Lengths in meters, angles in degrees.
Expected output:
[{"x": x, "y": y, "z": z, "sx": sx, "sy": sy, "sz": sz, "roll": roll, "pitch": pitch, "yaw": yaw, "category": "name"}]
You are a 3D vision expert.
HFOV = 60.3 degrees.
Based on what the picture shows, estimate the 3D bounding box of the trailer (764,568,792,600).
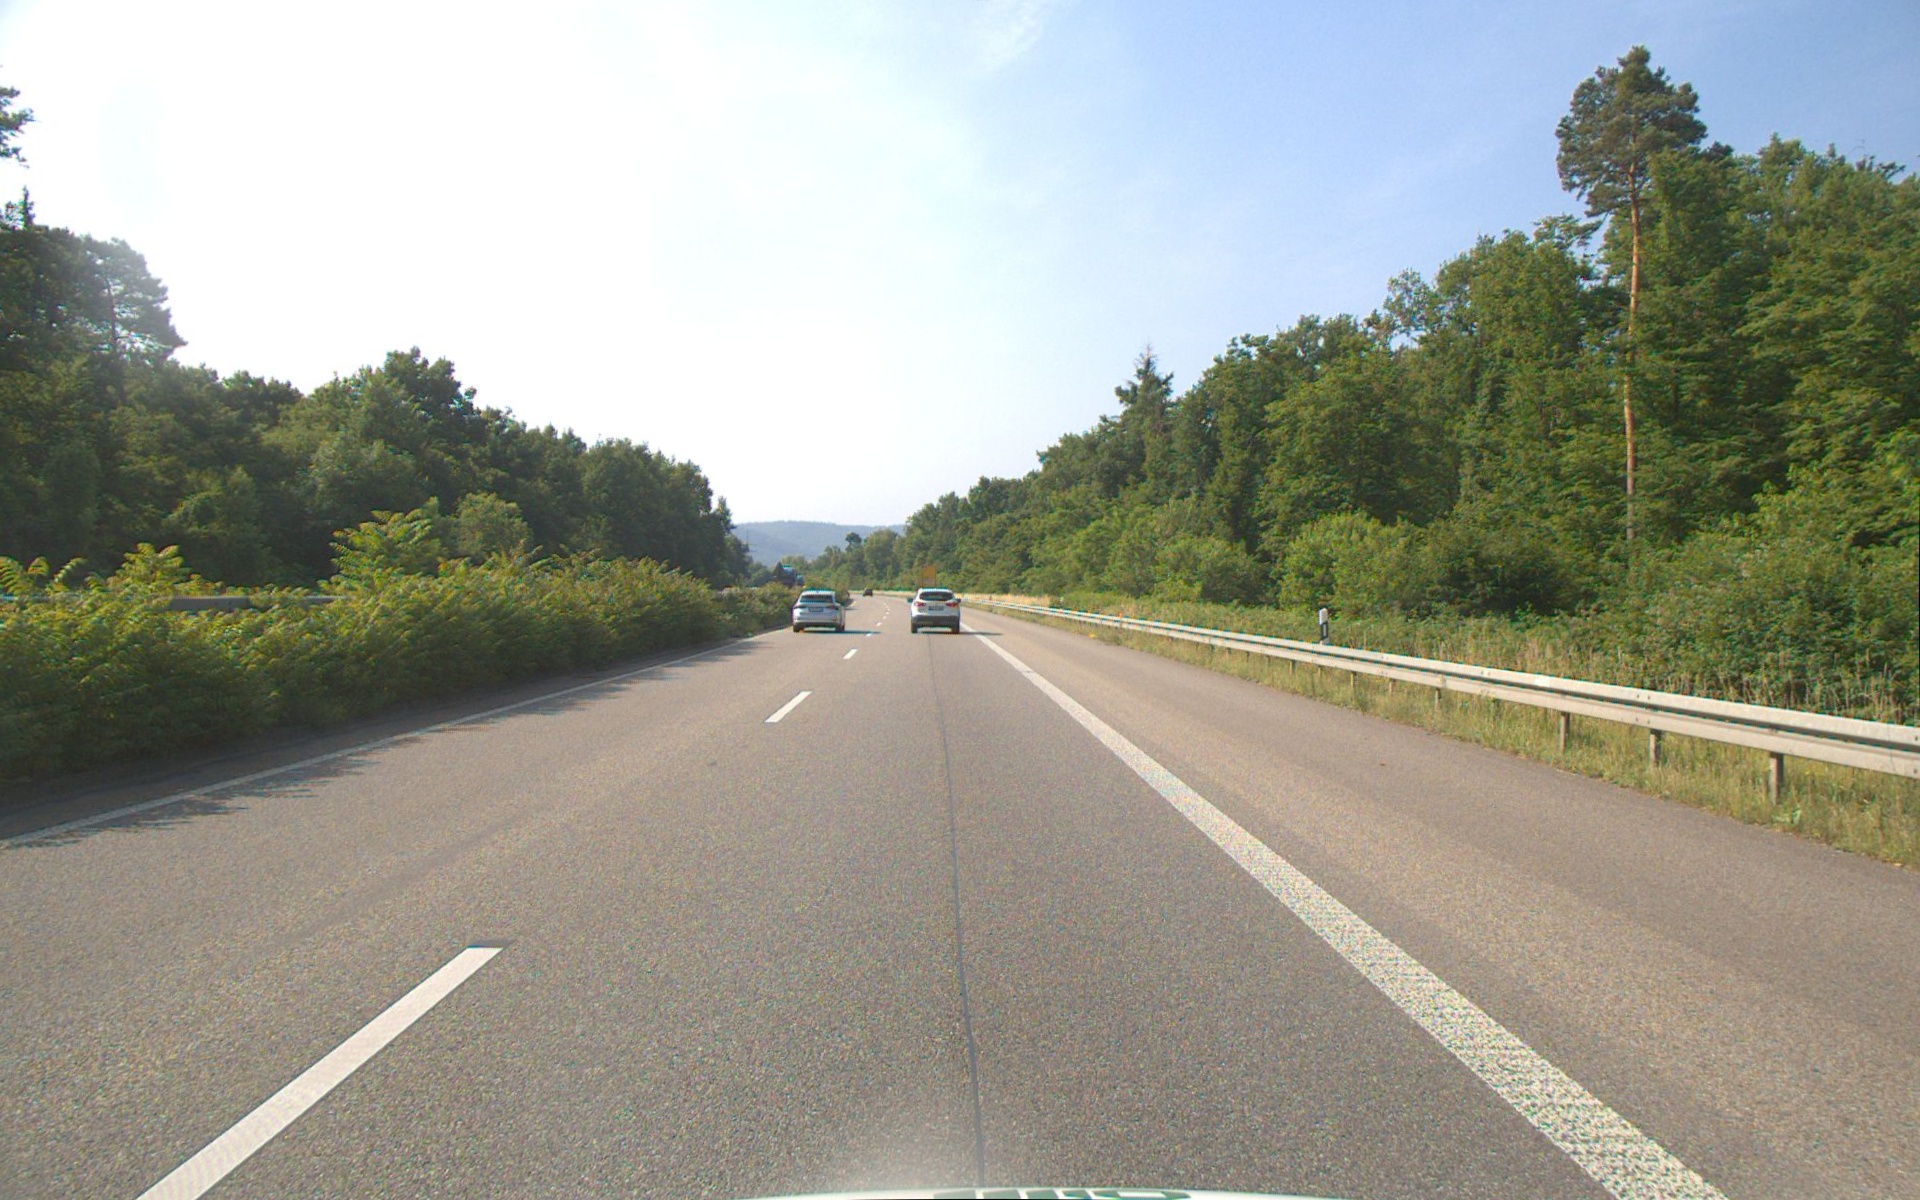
[{"x": -24.105, "y": -2.082, "z": 219.332, "sx": 2.774, "sy": 4.068, "sz": 11.429, "roll": 1, "pitch": 0, "yaw": -2, "category": "trailer"}]

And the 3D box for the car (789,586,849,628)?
[{"x": -5.109, "y": 0.230, "z": 60.538, "sx": 1.755, "sy": 1.463, "sz": 5.278, "roll": 0, "pitch": 0, "yaw": 0, "category": "car"}]

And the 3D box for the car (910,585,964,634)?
[{"x": -0.876, "y": 0.317, "z": 60.747, "sx": 1.836, "sy": 1.614, "sz": 3.999, "roll": 3, "pitch": 1, "yaw": -2, "category": "car"}]

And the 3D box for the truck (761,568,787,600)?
[{"x": -23.842, "y": -2.020, "z": 212.266, "sx": 2.729, "sy": 4.068, "sz": 8.412, "roll": 1, "pitch": 0, "yaw": -2, "category": "truck"}]
